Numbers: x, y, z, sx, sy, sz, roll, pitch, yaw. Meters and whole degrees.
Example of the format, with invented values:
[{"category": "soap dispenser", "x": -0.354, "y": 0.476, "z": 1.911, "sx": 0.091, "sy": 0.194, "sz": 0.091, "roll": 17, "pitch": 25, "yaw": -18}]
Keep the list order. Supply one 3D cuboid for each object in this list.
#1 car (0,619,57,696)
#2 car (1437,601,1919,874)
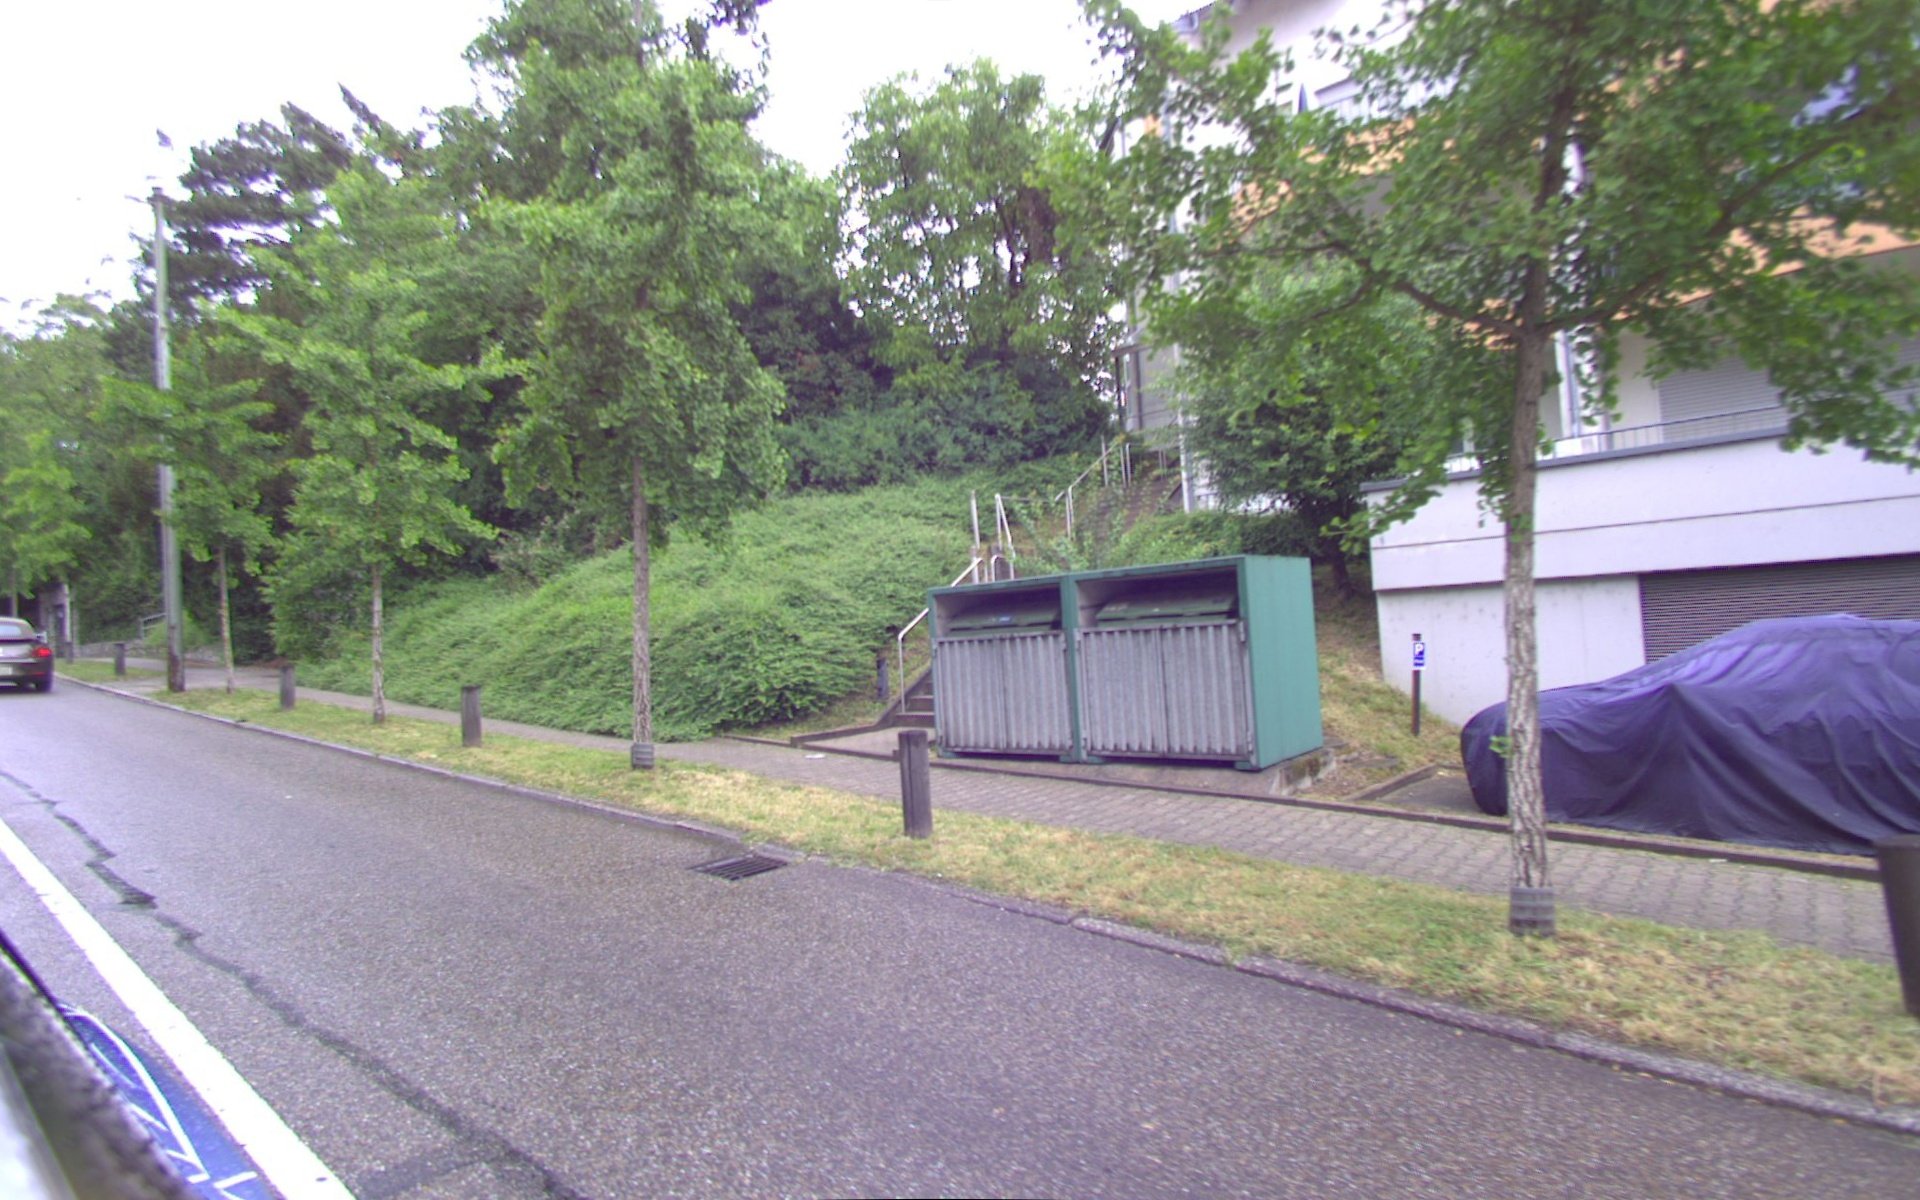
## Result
[{"category": "car", "x": -19.806, "y": 1.113, "z": 20.454, "sx": 3.997, "sy": 1.459, "sz": 1.759, "roll": -1, "pitch": -3, "yaw": 40}, {"category": "car", "x": 5.686, "y": 0.862, "z": 6.900, "sx": 4.095, "sy": 1.573, "sz": 1.759, "roll": -1, "pitch": -5, "yaw": 41}]
